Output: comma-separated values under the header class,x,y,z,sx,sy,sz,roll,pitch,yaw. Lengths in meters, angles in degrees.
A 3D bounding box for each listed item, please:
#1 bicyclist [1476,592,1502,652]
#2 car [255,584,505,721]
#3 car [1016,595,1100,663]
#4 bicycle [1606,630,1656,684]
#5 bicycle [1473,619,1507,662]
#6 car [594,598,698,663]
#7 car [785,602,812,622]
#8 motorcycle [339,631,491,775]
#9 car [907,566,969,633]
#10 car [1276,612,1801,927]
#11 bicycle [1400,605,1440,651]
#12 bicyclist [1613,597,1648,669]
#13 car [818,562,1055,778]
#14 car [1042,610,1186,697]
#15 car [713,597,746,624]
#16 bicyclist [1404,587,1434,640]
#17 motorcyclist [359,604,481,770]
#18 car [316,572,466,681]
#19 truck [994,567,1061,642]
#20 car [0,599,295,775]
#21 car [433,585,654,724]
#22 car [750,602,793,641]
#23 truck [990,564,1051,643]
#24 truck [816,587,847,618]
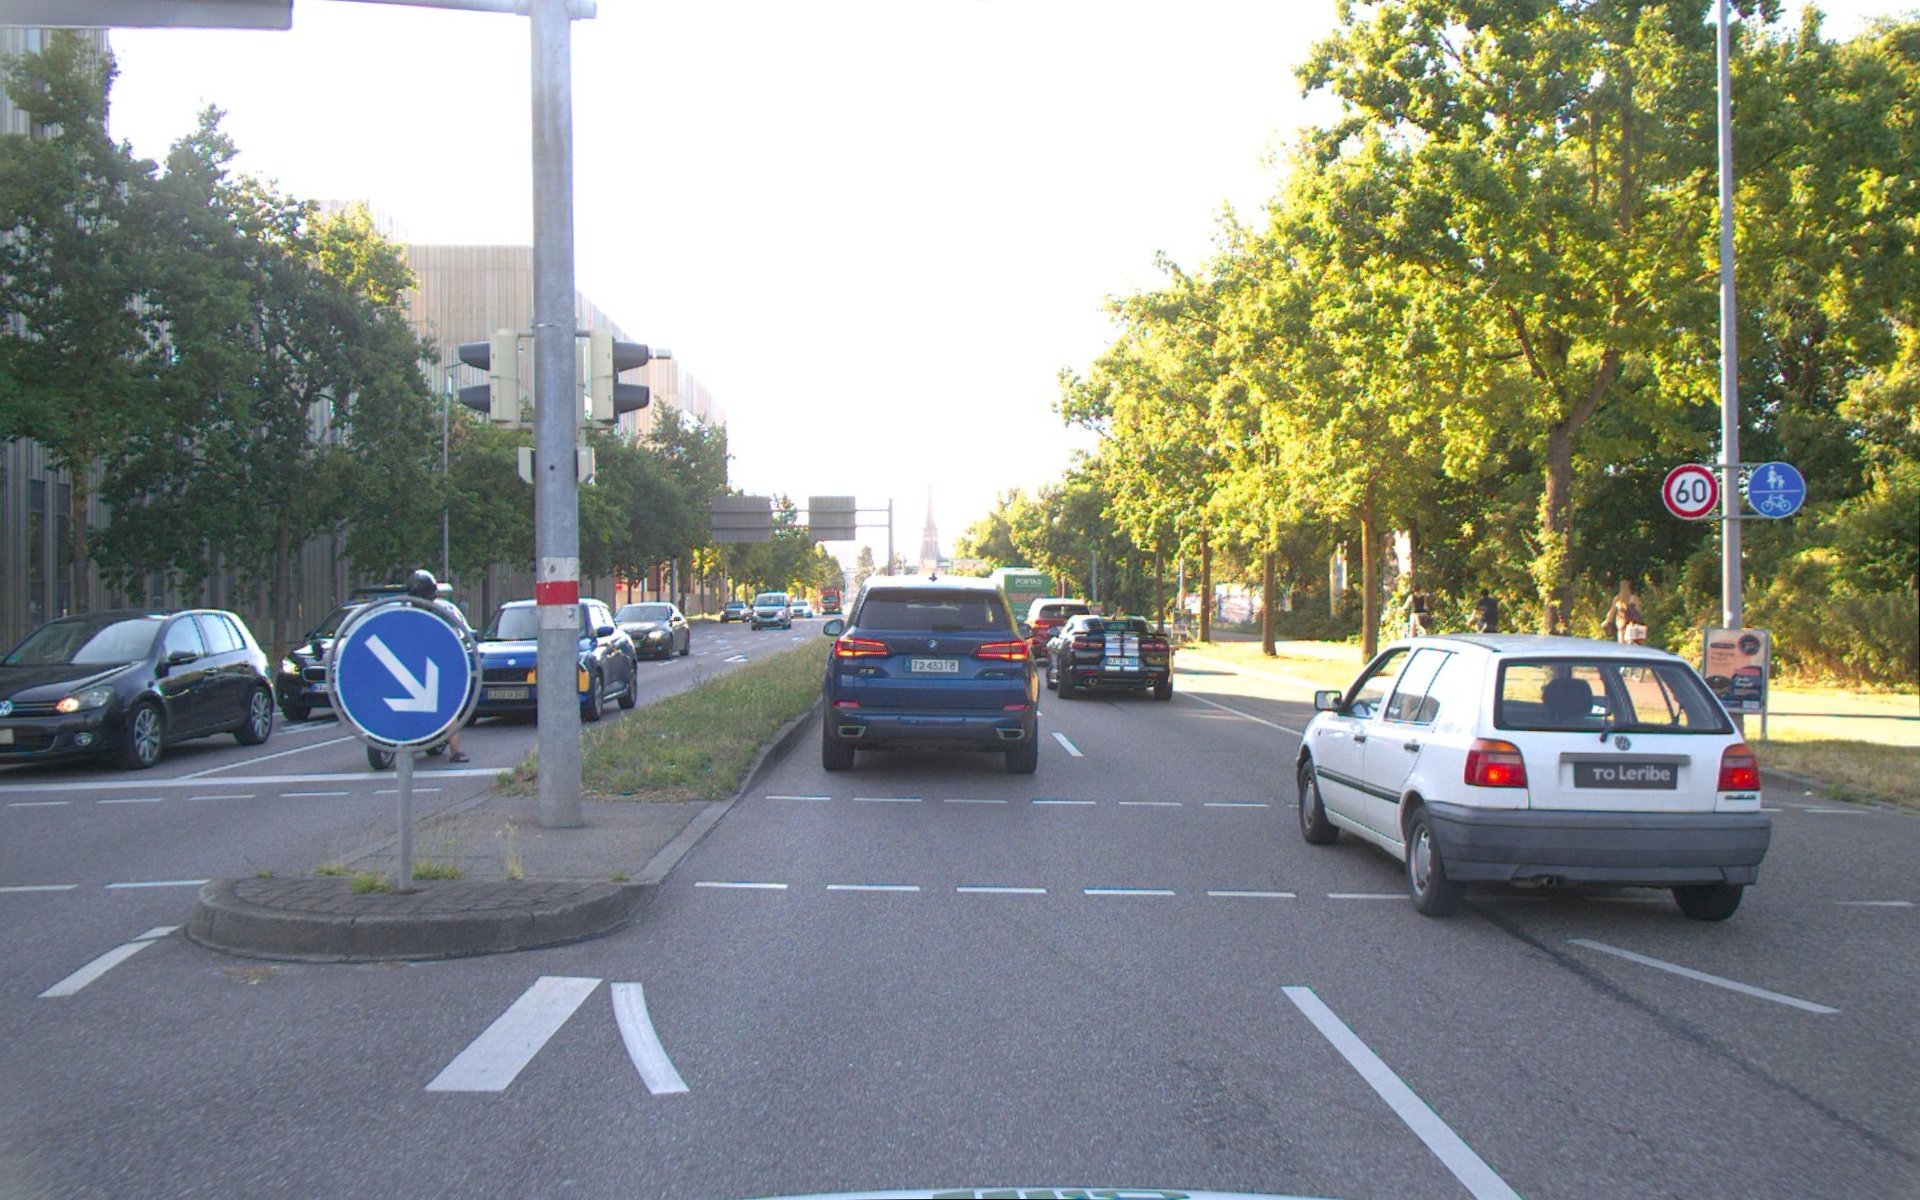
class,x,y,z,sx,sy,sz,roll,pitch,yaw
bicyclist,11.835,0.499,37.018,0.419,1.332,0.459,1,-1,-1
car,-8.012,0.706,23.355,1.954,1.619,4.712,-4,-1,-2
car,2.374,0.720,41.058,1.760,1.586,3.999,1,-1,-1
bicycle,11.901,0.999,29.365,0.428,0.930,1.026,-2,-1,-1
bicycle,11.825,0.905,36.917,0.428,0.930,1.026,1,-1,-1
car,-8.328,0.813,44.222,1.954,1.477,4.795,-4,-1,-3
car,-13.645,1.009,139.737,1.954,1.477,4.712,-4,-1,-2
motorcycle,-4.842,0.871,14.868,0.824,1.094,2.397,-2,0,-8
car,-0.962,0.035,68.348,2.095,2.621,5.080,1,-1,-6
car,3.097,0.829,9.743,1.547,1.438,4.060,1,-1,-2
bicycle,11.818,0.723,42.512,0.553,1.132,1.621,1,-1,-1
bicyclist,11.905,0.582,29.372,0.419,1.254,0.459,-1,-1,-1
car,-0.233,0.629,16.125,1.953,1.764,4.531,1,-1,-1
car,2.500,0.873,27.726,1.953,1.317,3.999,1,-1,-1
car,-16.286,0.756,117.076,1.721,1.734,4.492,-4,-1,-2
bicyclist,11.807,0.353,42.550,0.532,1.339,0.835,1,-1,-1
motorcyclist,-4.844,0.752,14.911,0.782,1.373,1.272,-2,1,-8
car,-11.734,0.494,34.390,1.759,2.013,3.992,-3,1,-2
truck,2.222,0.183,55.373,1.955,2.356,3.999,1,-1,-1
car,-8.346,0.778,16.371,1.953,1.501,4.078,2,-1,-2
car,-5.111,0.649,20.822,1.667,1.477,3.858,-4,-1,1
car,-9.518,1.102,83.723,1.721,1.808,4.492,-4,-1,-2
truck,2.154,0.160,60.094,1.955,2.715,3.999,1,-1,-1
truck,-17.946,0.398,231.975,3.909,4.160,11.442,1,-1,-2
